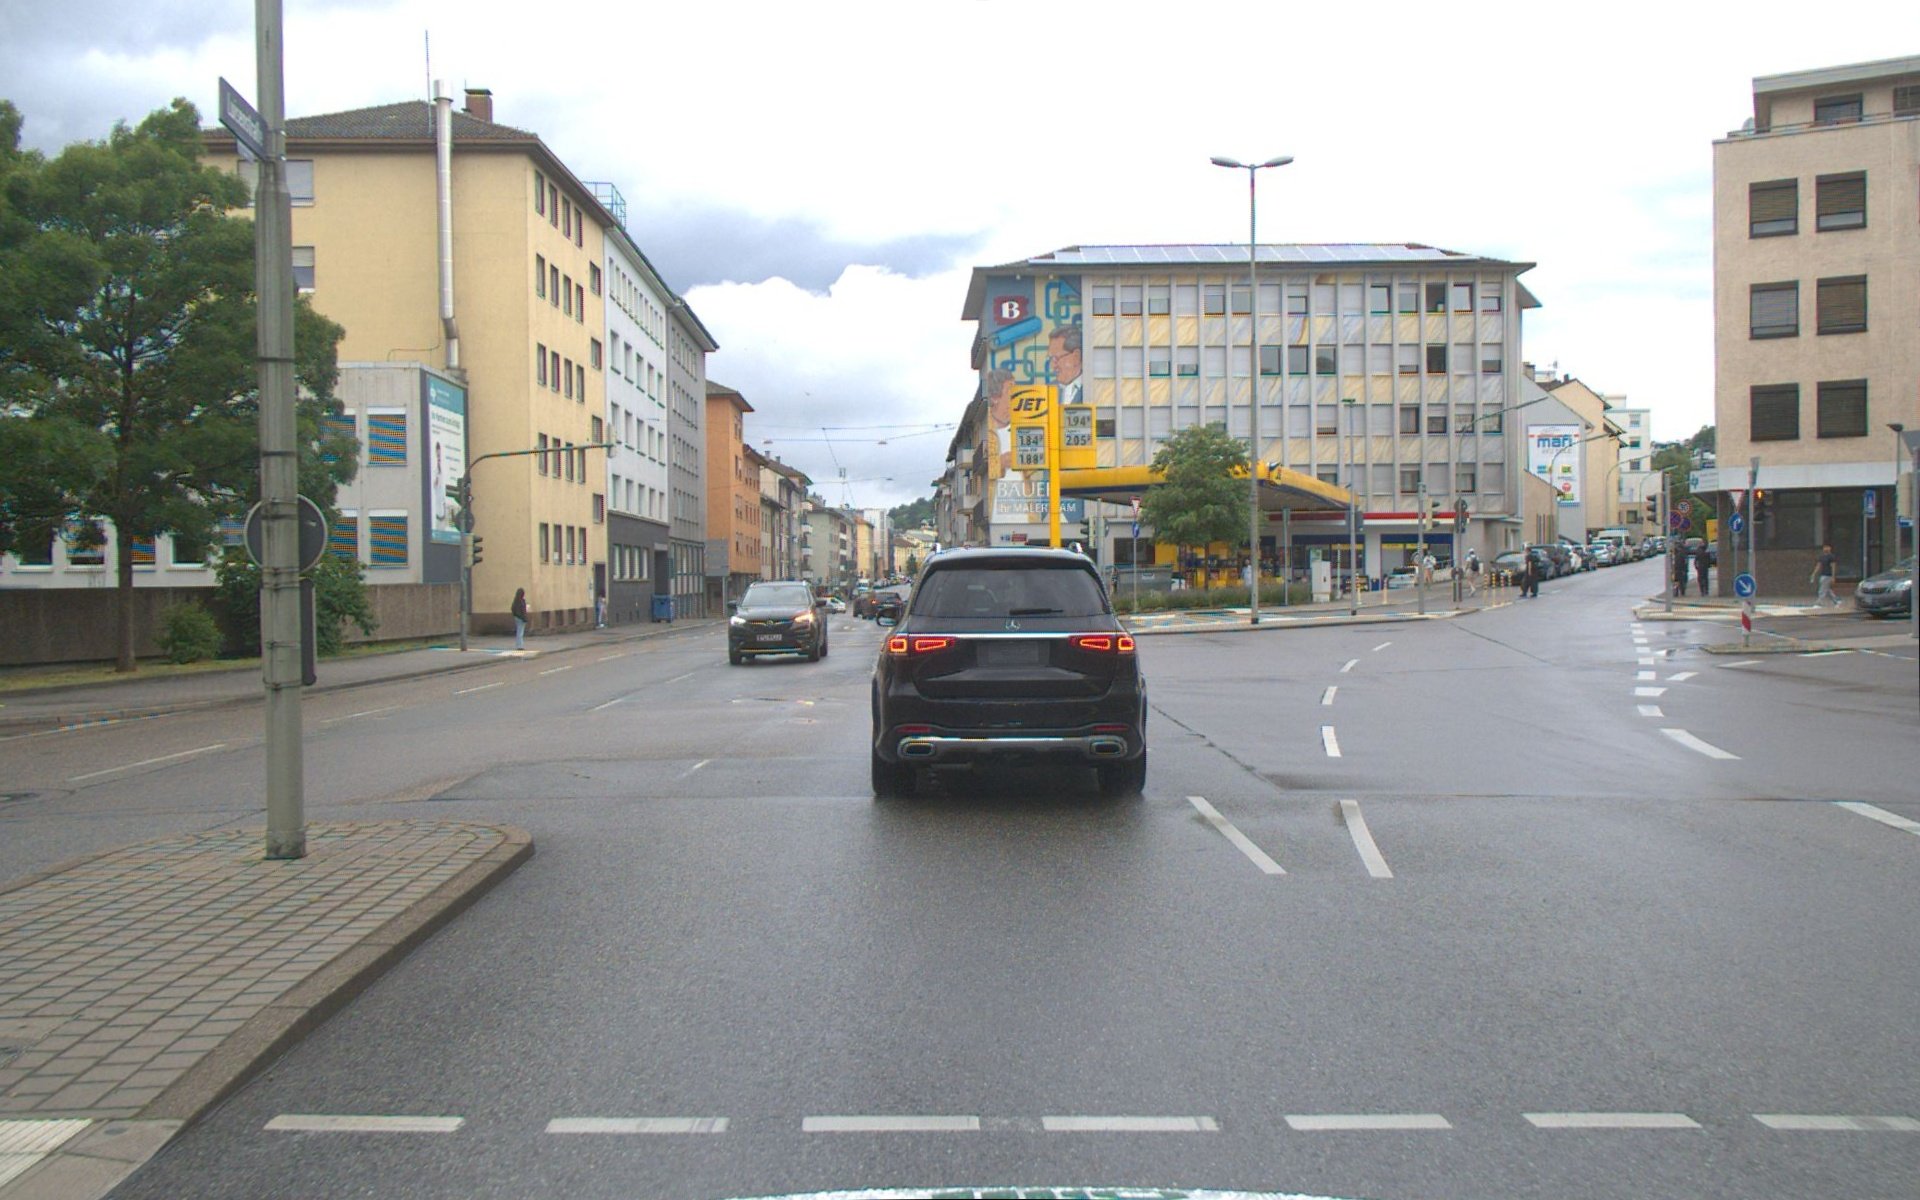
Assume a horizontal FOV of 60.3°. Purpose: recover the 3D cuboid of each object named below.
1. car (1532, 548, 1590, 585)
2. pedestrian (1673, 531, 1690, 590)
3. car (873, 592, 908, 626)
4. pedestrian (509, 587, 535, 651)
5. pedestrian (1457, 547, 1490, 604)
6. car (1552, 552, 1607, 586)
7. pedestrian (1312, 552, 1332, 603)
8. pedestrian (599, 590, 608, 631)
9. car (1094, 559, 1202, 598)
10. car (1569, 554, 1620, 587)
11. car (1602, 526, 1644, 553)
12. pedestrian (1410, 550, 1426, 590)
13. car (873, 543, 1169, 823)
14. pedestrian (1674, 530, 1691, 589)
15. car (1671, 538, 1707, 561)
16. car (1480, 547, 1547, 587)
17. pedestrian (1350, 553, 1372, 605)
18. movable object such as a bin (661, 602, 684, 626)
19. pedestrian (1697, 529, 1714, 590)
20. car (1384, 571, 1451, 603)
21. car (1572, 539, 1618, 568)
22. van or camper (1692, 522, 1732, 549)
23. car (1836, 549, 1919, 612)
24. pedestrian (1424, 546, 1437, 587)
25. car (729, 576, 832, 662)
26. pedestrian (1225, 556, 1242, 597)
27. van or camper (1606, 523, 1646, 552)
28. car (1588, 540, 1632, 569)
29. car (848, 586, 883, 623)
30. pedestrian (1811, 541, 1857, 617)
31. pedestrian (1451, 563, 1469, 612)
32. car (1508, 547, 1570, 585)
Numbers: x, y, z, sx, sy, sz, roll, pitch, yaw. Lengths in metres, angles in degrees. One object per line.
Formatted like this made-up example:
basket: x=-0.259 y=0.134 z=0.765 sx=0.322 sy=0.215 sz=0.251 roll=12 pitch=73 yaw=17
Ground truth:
car: x=30.216 y=-1.662 z=83.134 sx=1.957 sy=1.736 sz=3.990 roll=-1 pitch=0 yaw=32
pedestrian: x=25.408 y=-1.372 z=58.247 sx=0.388 sy=2.049 sz=0.446 roll=1 pitch=-2 yaw=0
car: x=-3.501 y=0.475 z=83.403 sx=1.650 sy=1.624 sz=3.997 roll=1 pitch=-1 yaw=-2
pedestrian: x=-12.257 y=0.535 z=46.288 sx=0.616 sy=1.757 sz=0.648 roll=-1 pitch=0 yaw=-12
pedestrian: x=19.704 y=-0.926 z=63.484 sx=0.838 sy=2.165 sz=0.946 roll=-1 pitch=0 yaw=-7
car: x=33.070 y=-1.628 z=88.273 sx=1.957 sy=1.736 sz=3.990 roll=-1 pitch=0 yaw=32
pedestrian: x=12.559 y=-0.786 z=57.409 sx=0.515 sy=1.757 sz=0.689 roll=-1 pitch=0 yaw=25
pedestrian: x=-14.581 y=0.426 z=67.694 sx=0.240 sy=1.653 sz=0.411 roll=1 pitch=-2 yaw=0
car: x=7.239 y=-0.822 z=63.944 sx=1.724 sy=1.400 sz=3.934 roll=-1 pitch=0 yaw=-45
car: x=35.657 y=-1.643 z=92.921 sx=1.957 sy=1.736 sz=3.990 roll=-1 pitch=0 yaw=32
car: x=45.918 y=-4.153 z=114.521 sx=1.957 sy=1.743 sz=4.374 roll=-1 pitch=0 yaw=32
pedestrian: x=20.074 y=-1.299 z=72.481 sx=0.515 sy=1.757 sz=0.689 roll=-1 pitch=0 yaw=25
car: x=0.364 y=0.606 z=13.059 sx=1.953 sy=1.832 sz=3.998 roll=1 pitch=-1 yaw=-2
pedestrian: x=25.102 y=-1.400 z=57.469 sx=0.388 sy=2.049 sz=0.446 roll=1 pitch=-2 yaw=0
car: x=56.860 y=-3.922 z=129.045 sx=1.957 sy=1.743 sz=4.374 roll=-1 pitch=0 yaw=32
car: x=24.996 y=-1.473 z=74.623 sx=1.957 sy=1.736 sz=3.990 roll=-1 pitch=0 yaw=32
pedestrian: x=13.516 y=-0.699 z=55.779 sx=0.560 sy=1.727 sz=0.630 roll=1 pitch=-2 yaw=0
movable object such as a bin: x=-13.212 y=0.656 z=76.091 sx=0.892 sy=1.056 sz=0.843 roll=1 pitch=-2 yaw=-1
pedestrian: x=25.757 y=-1.394 z=57.137 sx=0.388 sy=2.049 sz=0.446 roll=1 pitch=-2 yaw=0
car: x=22.965 y=-0.622 z=82.935 sx=1.961 sy=1.423 sz=3.983 roll=0 pitch=-2 yaw=37
car: x=39.746 y=-2.875 z=103.524 sx=1.957 sy=1.736 sz=3.990 roll=-1 pitch=0 yaw=32
van or camper: x=52.080 y=-4.440 z=114.500 sx=1.957 sy=1.743 sz=4.374 roll=-1 pitch=0 yaw=32
car: x=23.591 y=-0.503 z=39.708 sx=4.095 sy=1.465 sz=1.860 roll=-1 pitch=0 yaw=5
pedestrian: x=19.732 y=-1.407 z=69.365 sx=0.474 sy=1.669 sz=0.438 roll=0 pitch=-2 yaw=27
car: x=-3.716 y=0.423 z=34.316 sx=1.955 sy=1.643 sz=4.183 roll=1 pitch=-1 yaw=-6
pedestrian: x=11.826 y=-1.034 z=71.549 sx=0.516 sy=1.757 sz=0.688 roll=-1 pitch=0 yaw=28
van or camper: x=48.681 y=-4.539 z=120.872 sx=1.957 sy=2.013 sz=4.502 roll=-1 pitch=0 yaw=32
car: x=42.344 y=-2.944 z=107.771 sx=1.957 sy=1.736 sz=3.990 roll=-1 pitch=0 yaw=32
car: x=-5.563 y=0.262 z=97.355 sx=1.953 sy=2.049 sz=3.997 roll=1 pitch=-1 yaw=-2
pedestrian: x=23.887 y=-0.571 z=45.197 sx=0.860 sy=2.049 sz=0.729 roll=1 pitch=-2 yaw=0
pedestrian: x=14.790 y=-0.361 z=48.929 sx=0.388 sy=1.424 sz=0.446 roll=1 pitch=-2 yaw=0
car: x=27.676 y=-1.608 z=79.006 sx=1.957 sy=1.736 sz=3.990 roll=-1 pitch=0 yaw=32
